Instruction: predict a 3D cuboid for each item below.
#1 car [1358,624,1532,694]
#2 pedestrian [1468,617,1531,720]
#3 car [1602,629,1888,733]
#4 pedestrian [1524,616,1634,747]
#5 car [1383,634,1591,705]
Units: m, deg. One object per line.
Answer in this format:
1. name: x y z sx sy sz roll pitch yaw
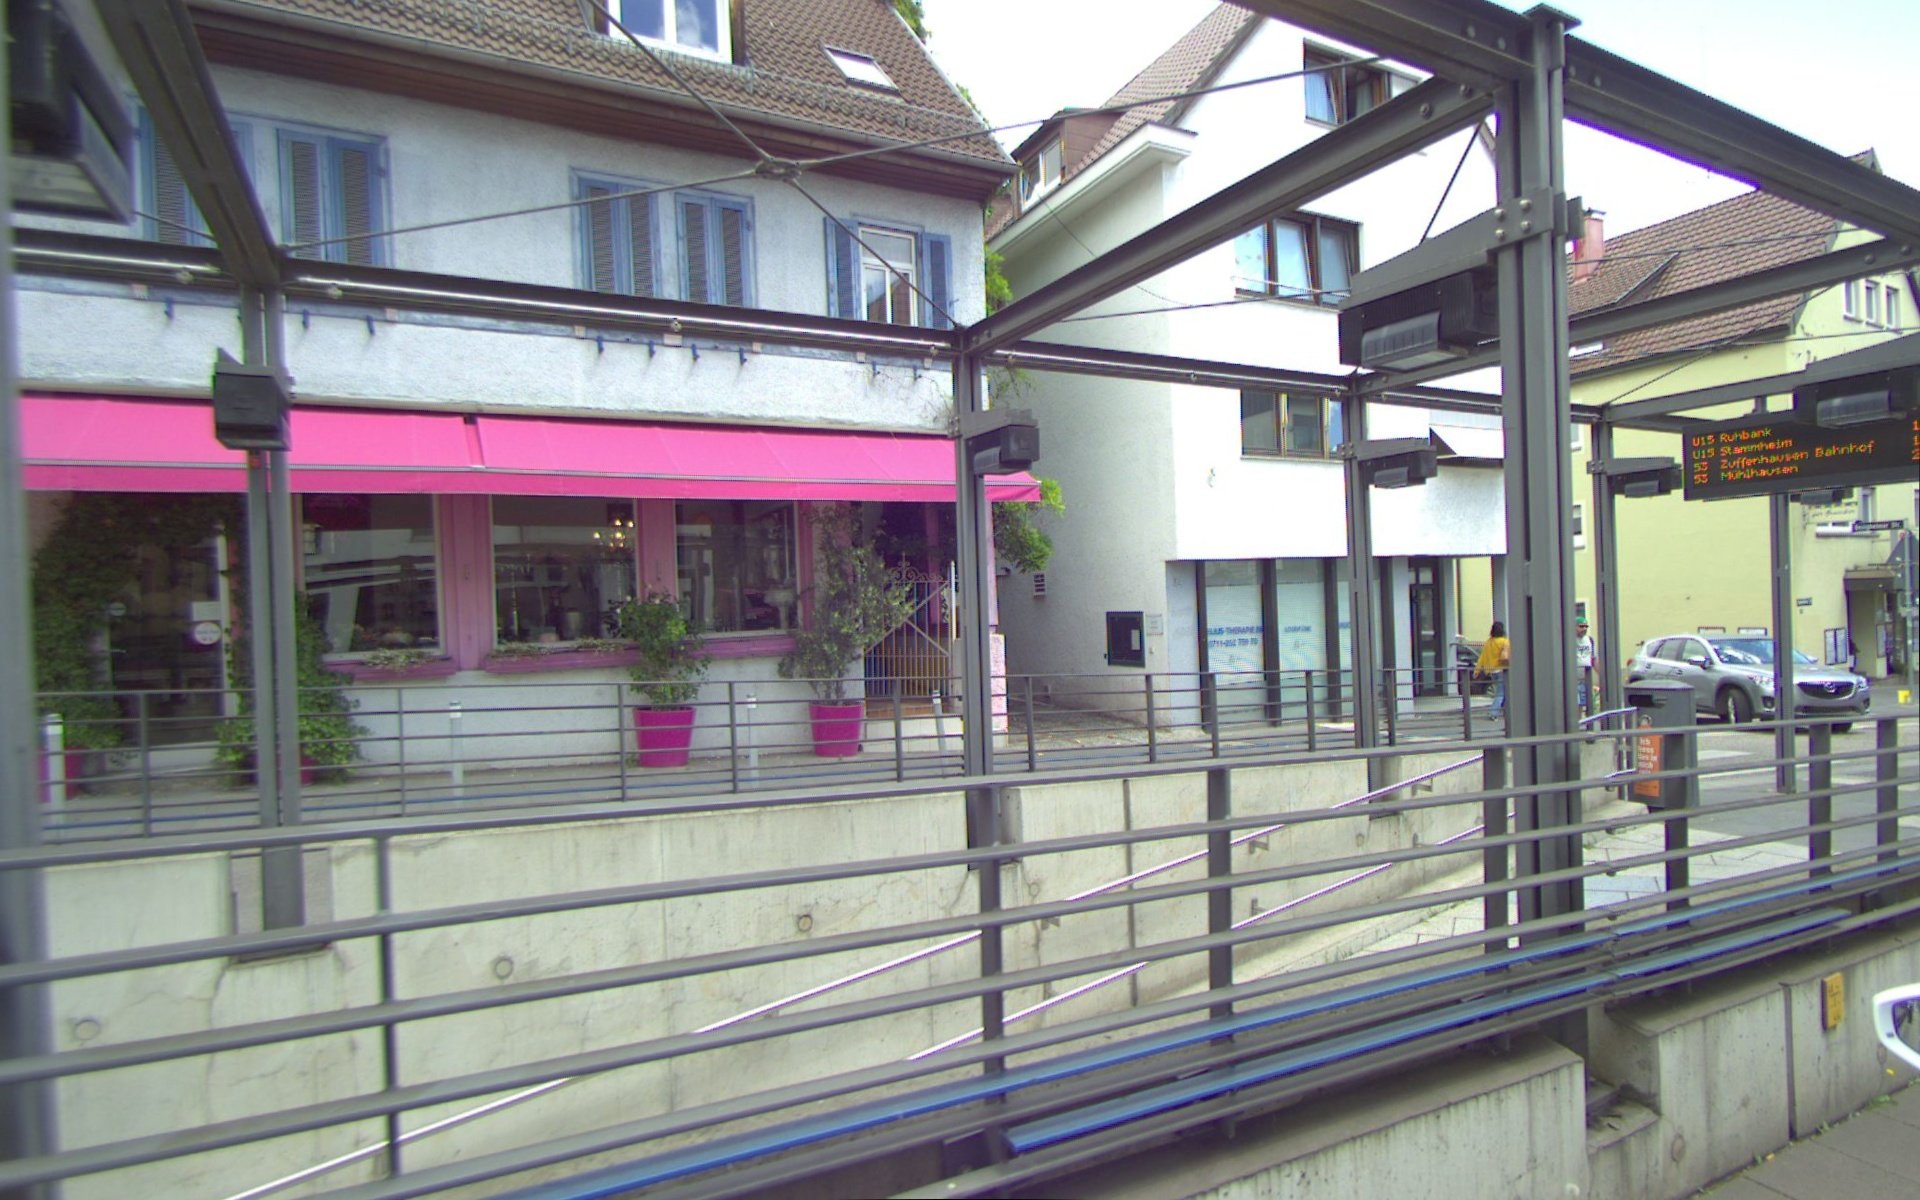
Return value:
1. car: 14.380 1.789 30.052 1.973 1.829 4.327 -2 -3 -26
2. pedestrian: 9.522 1.199 17.724 0.827 1.761 0.633 1 -3 -33
3. car: 13.928 1.357 18.220 1.930 1.642 4.357 0 -2 3
4. pedestrian: 8.899 1.145 14.473 0.971 1.811 0.917 0 -1 -14
5. car: 13.127 1.665 25.295 1.892 1.589 4.338 1 -2 -29
